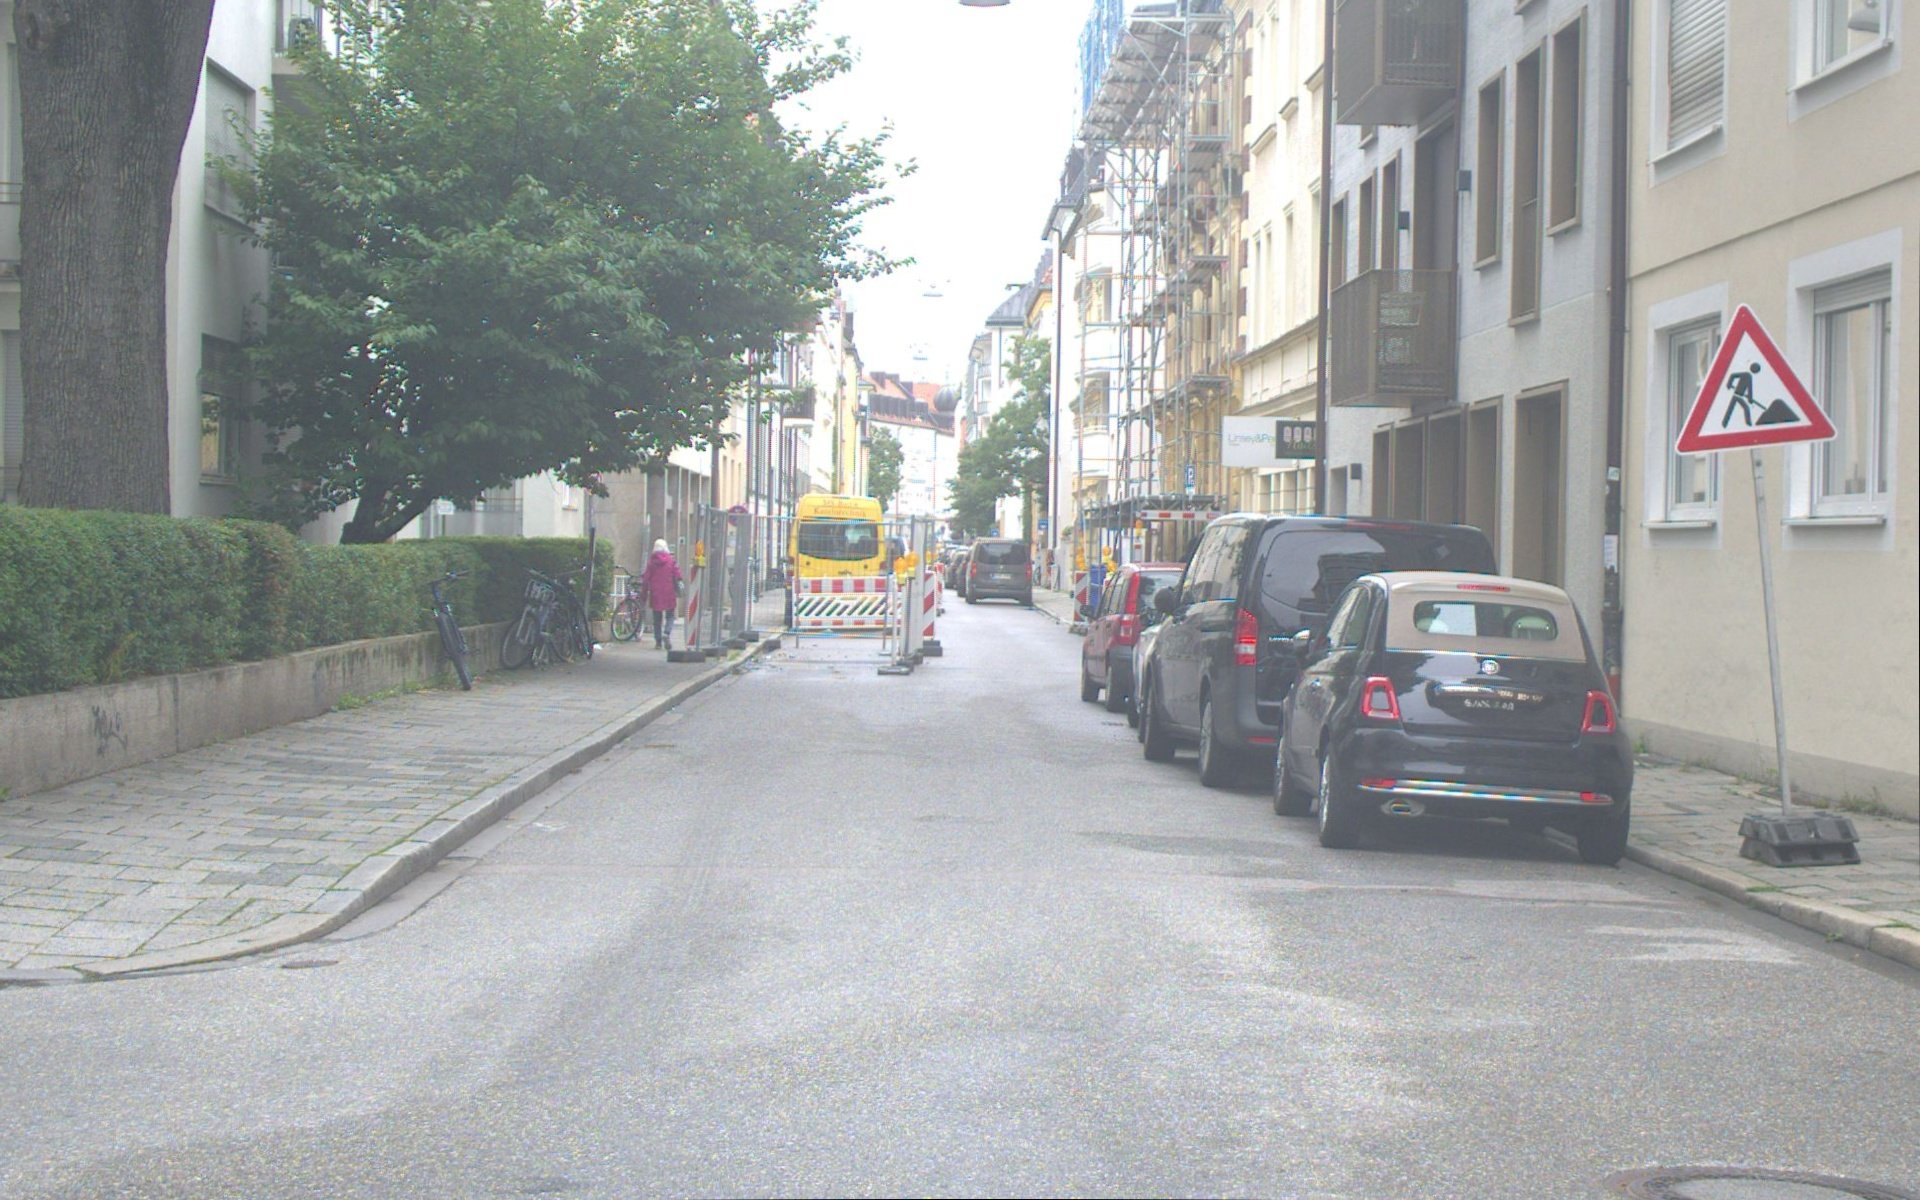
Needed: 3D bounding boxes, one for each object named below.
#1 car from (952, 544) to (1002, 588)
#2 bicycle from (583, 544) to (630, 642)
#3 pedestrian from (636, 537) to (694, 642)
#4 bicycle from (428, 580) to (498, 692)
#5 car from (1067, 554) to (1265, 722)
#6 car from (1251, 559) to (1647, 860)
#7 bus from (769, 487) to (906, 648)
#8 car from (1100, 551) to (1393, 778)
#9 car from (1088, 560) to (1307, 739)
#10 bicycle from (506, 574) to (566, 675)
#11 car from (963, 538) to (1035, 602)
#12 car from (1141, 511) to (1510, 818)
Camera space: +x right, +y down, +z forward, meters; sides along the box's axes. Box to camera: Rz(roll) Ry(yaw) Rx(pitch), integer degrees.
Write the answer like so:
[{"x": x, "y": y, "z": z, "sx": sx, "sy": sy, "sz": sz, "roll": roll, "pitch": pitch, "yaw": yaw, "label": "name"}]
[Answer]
[{"x": 0.617, "y": -1.293, "z": 129.961, "sx": 1.801, "sy": 1.608, "sz": 4.000, "roll": 2, "pitch": 1, "yaw": -1, "label": "car"}, {"x": -5.182, "y": -0.111, "z": 50.416, "sx": 0.514, "sy": 1.413, "sz": 1.934, "roll": 0, "pitch": 0, "yaw": -1, "label": "bicycle"}, {"x": -4.227, "y": -0.148, "z": 49.337, "sx": 0.756, "sy": 1.486, "sz": 0.831, "roll": 0, "pitch": 0, "yaw": -1, "label": "pedestrian"}, {"x": -4.628, "y": 0.320, "z": 32.080, "sx": 0.414, "sy": 1.017, "sz": 1.854, "roll": 0, "pitch": 0, "yaw": -1, "label": "bicycle"}, {"x": 2.092, "y": 0.352, "z": 35.772, "sx": 1.635, "sy": 1.509, "sz": 3.829, "roll": 5, "pitch": 1, "yaw": -1, "label": "car"}, {"x": 2.667, "y": 0.539, "z": 19.532, "sx": 1.624, "sy": 1.482, "sz": 3.808, "roll": 2, "pitch": 1, "yaw": -1, "label": "car"}, {"x": -2.410, "y": -0.643, "z": 69.511, "sx": 2.592, "sy": 3.091, "sz": 6.306, "roll": 0, "pitch": 0, "yaw": -1, "label": "bus"}, {"x": 2.250, "y": 0.463, "z": 27.985, "sx": 1.801, "sy": 1.562, "sz": 4.000, "roll": 5, "pitch": 1, "yaw": -2, "label": "car"}, {"x": 2.160, "y": 0.418, "z": 31.998, "sx": 1.563, "sy": 1.429, "sz": 3.416, "roll": 5, "pitch": 1, "yaw": -2, "label": "car"}, {"x": -4.633, "y": 0.254, "z": 37.617, "sx": 0.446, "sy": 1.069, "sz": 2.468, "roll": 0, "pitch": 0, "yaw": -2, "label": "bicycle"}, {"x": 1.134, "y": -0.911, "z": 101.521, "sx": 1.801, "sy": 1.706, "sz": 3.827, "roll": 5, "pitch": 1, "yaw": -3, "label": "car"}, {"x": 2.437, "y": 0.376, "z": 23.890, "sx": 1.801, "sy": 1.814, "sz": 4.001, "roll": 5, "pitch": 1, "yaw": -3, "label": "car"}]
